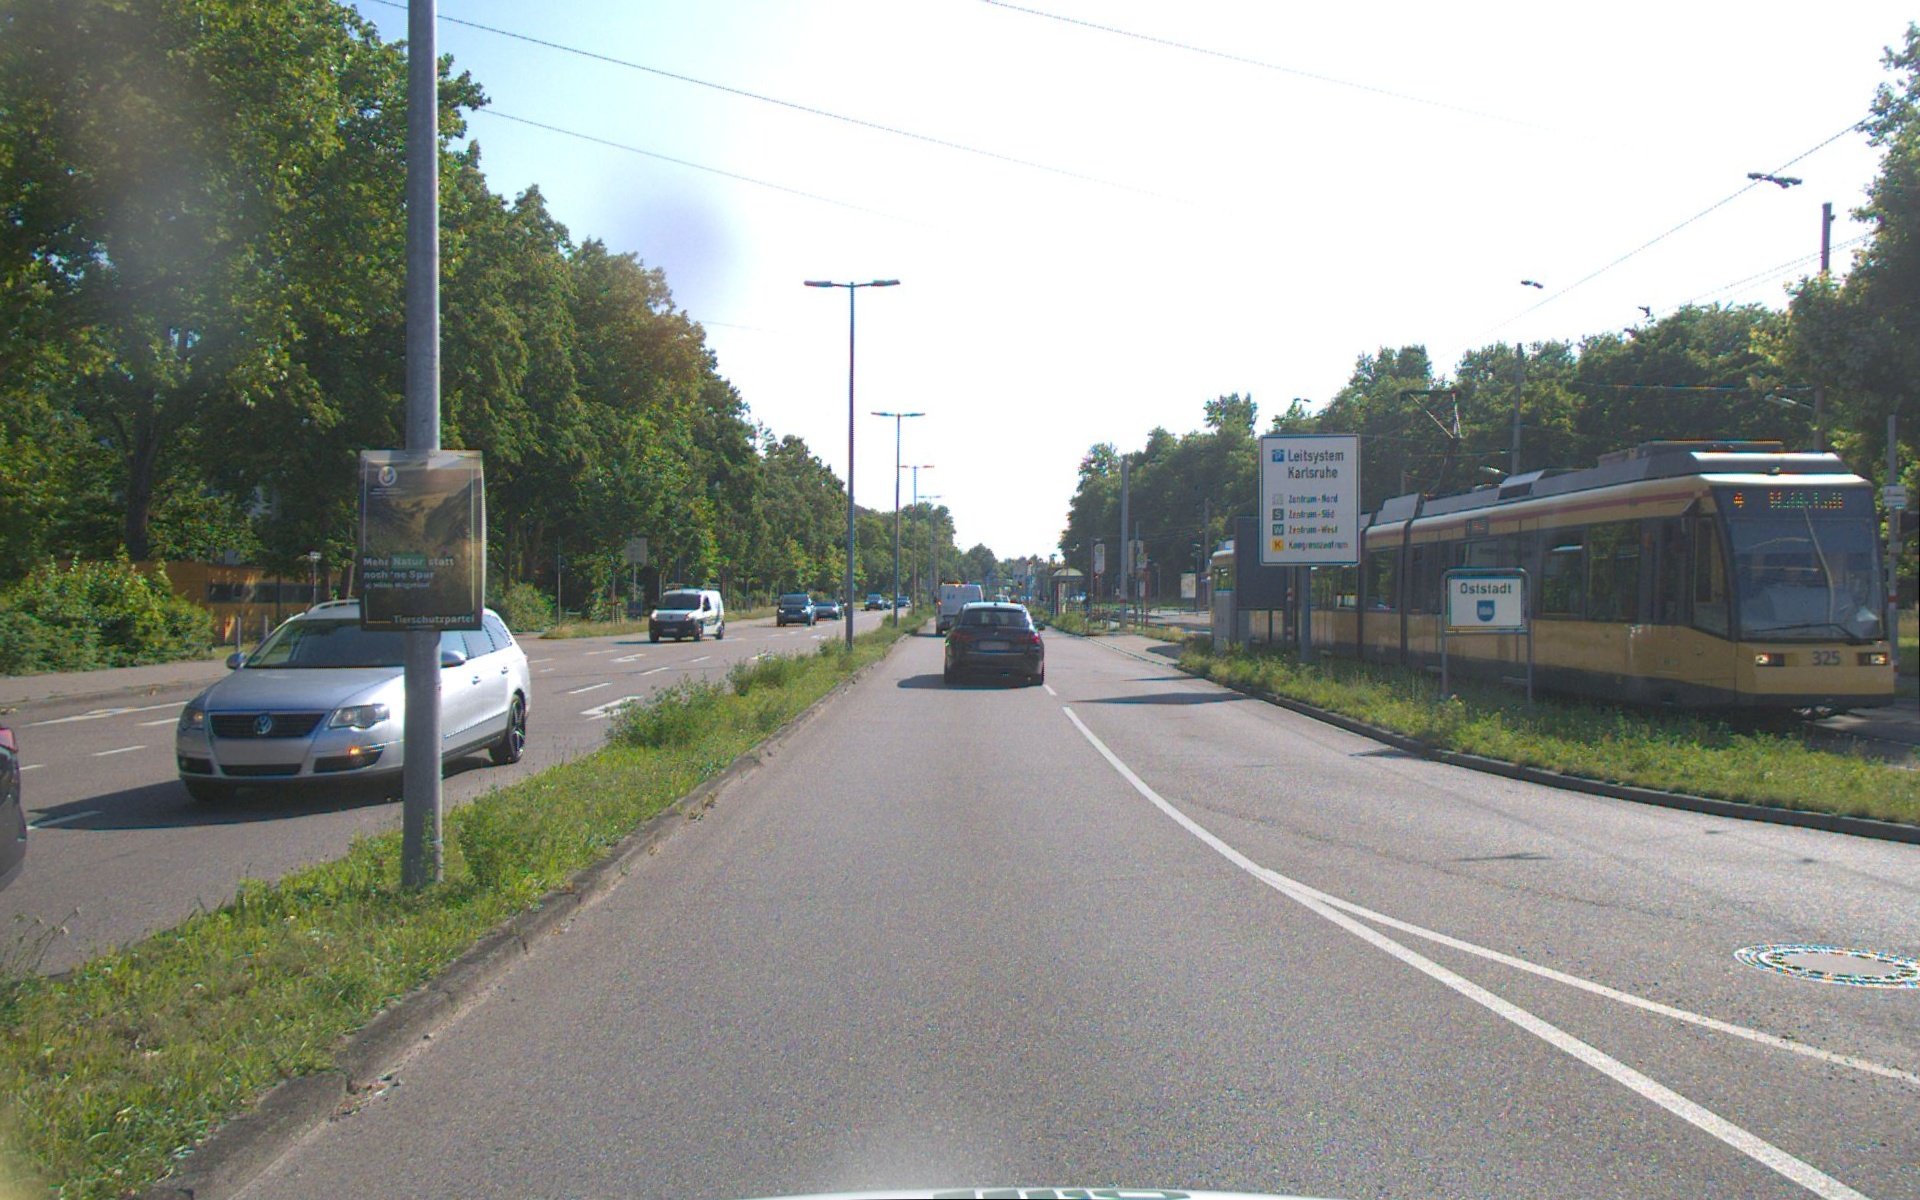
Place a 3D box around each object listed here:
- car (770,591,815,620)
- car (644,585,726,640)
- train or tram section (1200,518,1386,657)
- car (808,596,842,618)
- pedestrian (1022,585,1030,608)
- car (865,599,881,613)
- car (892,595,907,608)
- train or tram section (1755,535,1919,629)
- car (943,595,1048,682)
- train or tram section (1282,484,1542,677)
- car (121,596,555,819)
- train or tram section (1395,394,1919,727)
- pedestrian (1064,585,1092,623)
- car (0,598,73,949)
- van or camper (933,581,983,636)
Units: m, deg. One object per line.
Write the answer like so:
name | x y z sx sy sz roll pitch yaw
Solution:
car | -8.583 0.263 85.164 1.751 1.440 4.387 0 0 1
car | -9.421 0.390 57.017 1.751 1.803 4.572 -1 0 4
train or tram section | 9.668 -0.289 50.094 2.630 3.542 14.968 1 0 0
car | -8.671 0.425 106.551 1.752 1.351 4.736 0 0 0
pedestrian | 5.866 -0.317 147.366 0.684 2.049 0.702 1 0 -1
car | -9.091 0.612 173.516 1.502 1.512 4.000 0 0 -1
car | -7.782 0.176 212.219 1.812 1.579 4.000 0 0 -1
train or tram section | 38.307 -0.713 65.486 12.168 3.642 3.048 0 0 30
car | 0.670 0.675 31.254 1.864 1.532 4.066 0 0 1
train or tram section | 9.675 -0.345 37.010 2.694 3.616 11.256 1 0 0
car | -4.956 0.749 13.978 1.810 1.503 4.646 -1 0 1
train or tram section | 9.723 -0.408 24.941 2.739 3.682 12.953 1 0 -1
pedestrian | 5.114 0.170 71.801 0.981 1.663 0.719 0 0 34
car | -4.922 0.753 5.262 1.791 1.460 4.381 -1 0 0
van or camper | -0.067 0.303 66.603 1.953 2.133 4.598 0 0 0
